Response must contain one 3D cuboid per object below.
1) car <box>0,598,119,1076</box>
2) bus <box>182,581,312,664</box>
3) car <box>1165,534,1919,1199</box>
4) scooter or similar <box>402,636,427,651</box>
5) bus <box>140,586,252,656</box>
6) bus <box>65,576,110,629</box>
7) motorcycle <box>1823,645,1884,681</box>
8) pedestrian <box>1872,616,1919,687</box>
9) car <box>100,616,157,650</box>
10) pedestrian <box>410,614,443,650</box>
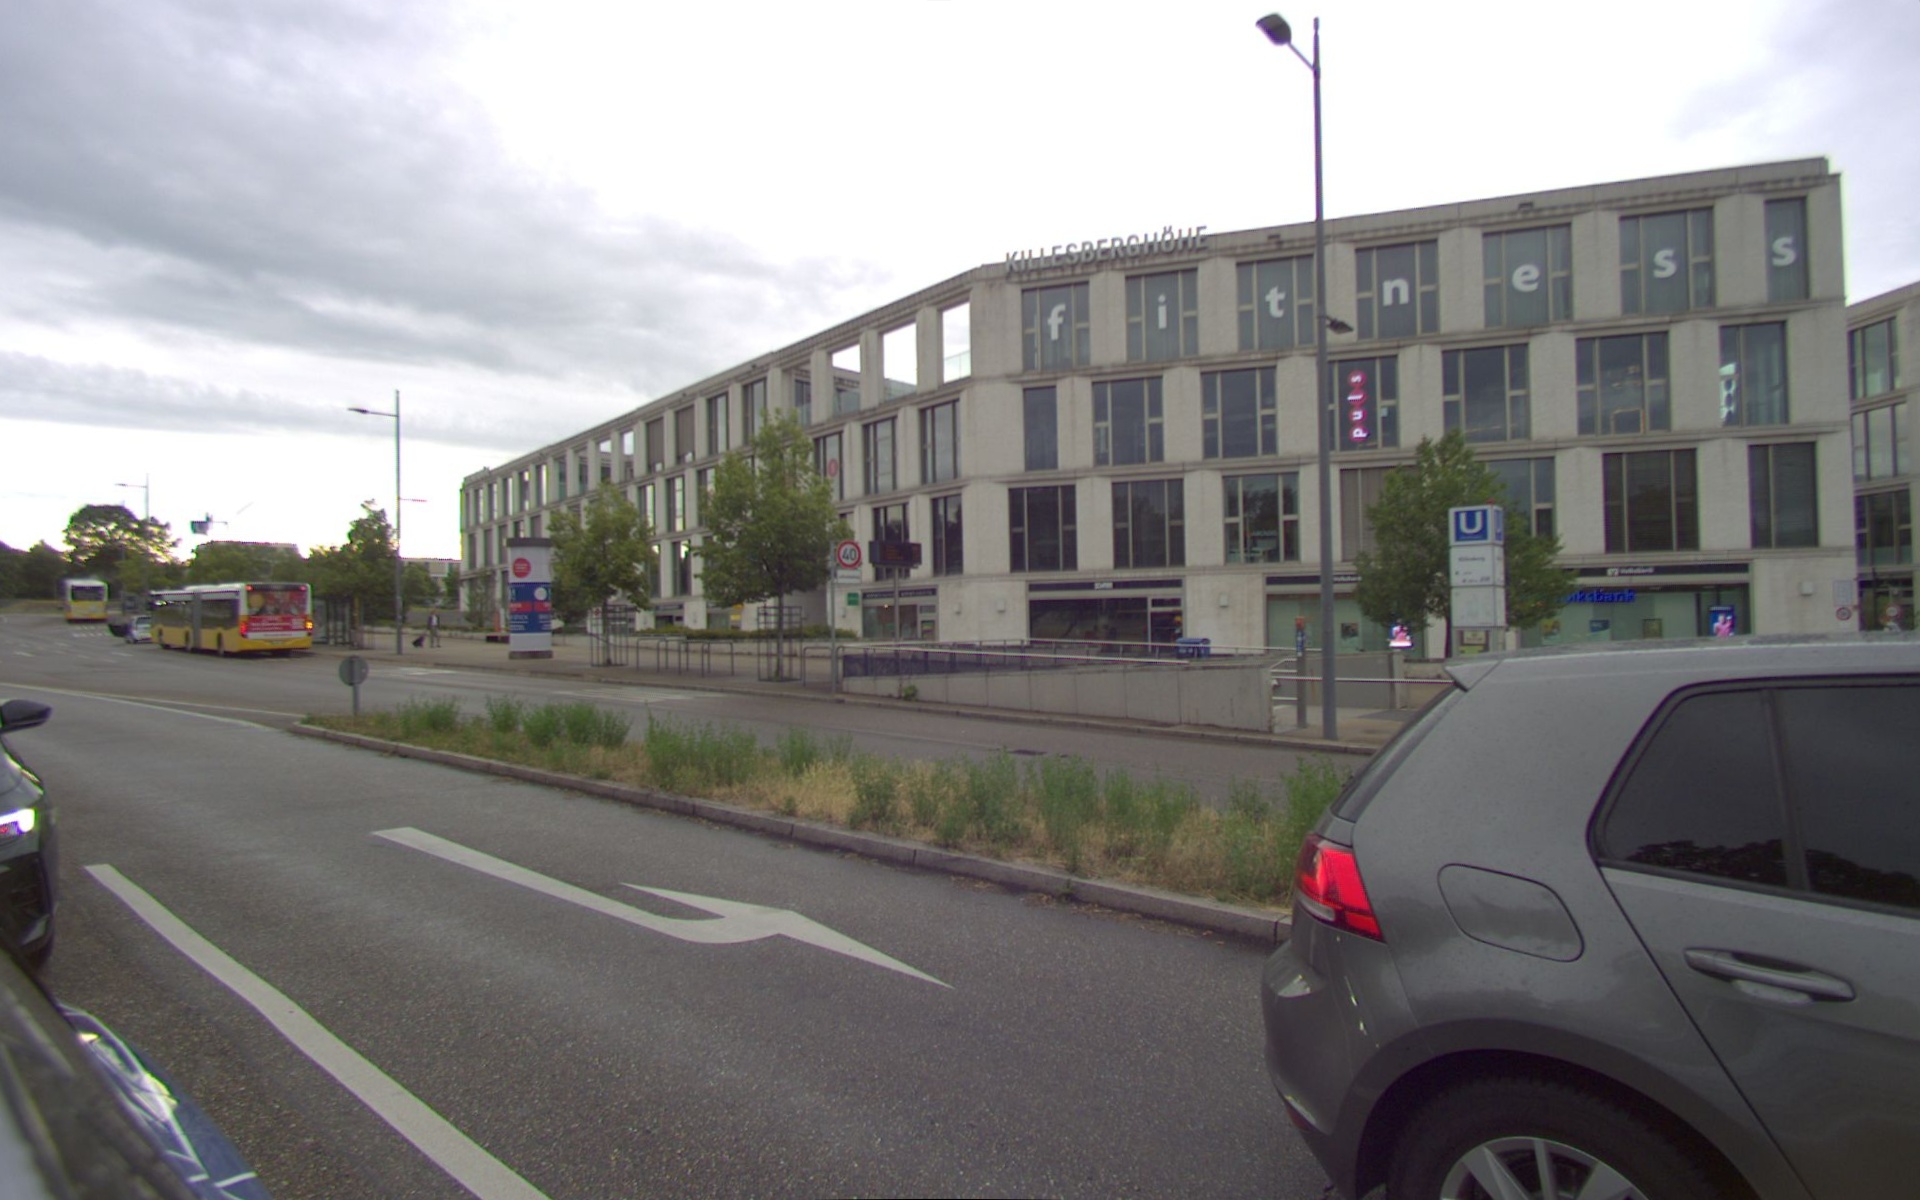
[{"bbox_3d":[-5.192,0.764,4.215,4.766,1.476,1.877,-1,0,41],"label":"car"},{"bbox_3d":[-31.135,0.914,43.981,9.206,3.236,2.723,-1,0,43],"label":"bus"},{"bbox_3d":[2.661,0.652,1.406,4.376,1.492,1.796,-1,-2,42],"label":"car"},{"bbox_3d":[-24.526,1.959,45.515,0.819,0.656,0.643,0,-1,-12],"label":"scooter or similar"},{"bbox_3d":[-38.161,0.983,50.388,9.911,3.205,2.658,-1,0,42],"label":"bus"},{"bbox_3d":[-76.608,0.258,89.074,2.718,4.185,19.378,-1,0,-40],"label":"bus"},{"bbox_3d":[20.383,1.429,23.105,0.517,0.746,1.098,-1,0,9],"label":"motorcycle"},{"bbox_3d":[21.980,1.193,23.506,0.907,1.617,0.760,0,-1,18],"label":"pedestrian"},{"bbox_3d":[-47.196,1.828,57.412,3.998,1.800,1.843,-1,0,41],"label":"car"},{"bbox_3d":[-24.207,1.463,45.934,0.973,1.593,0.864,-1,0,11],"label":"pedestrian"}]
